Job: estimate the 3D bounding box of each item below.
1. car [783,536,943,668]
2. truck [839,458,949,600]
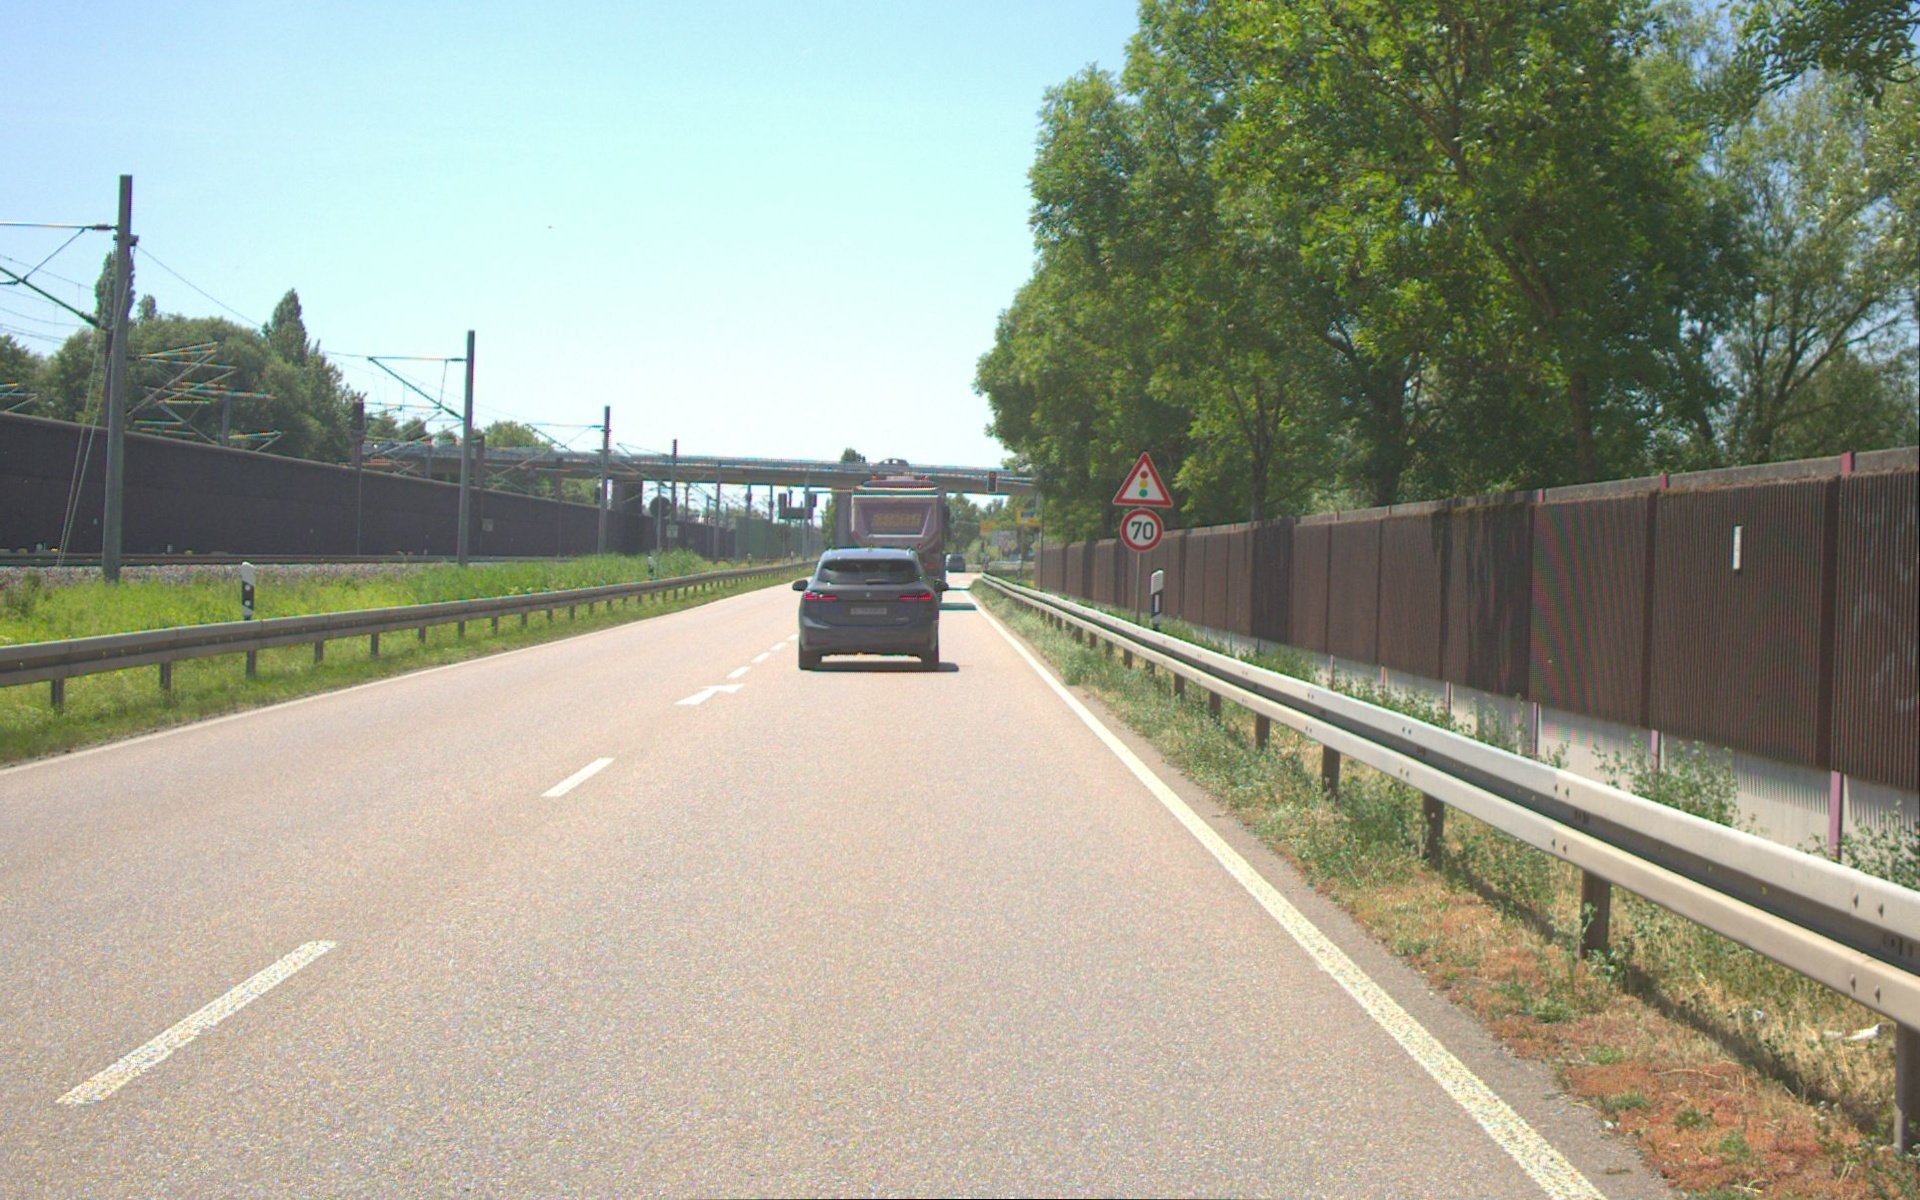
[{"bbox_3d":[-1.229,-0.003,45.185,1.845,1.617,4.226,1,1,2],"label":"car"},{"bbox_3d":[-1.807,-1.988,98.811,2.833,3.808,11.885,1,1,0],"label":"truck"}]
